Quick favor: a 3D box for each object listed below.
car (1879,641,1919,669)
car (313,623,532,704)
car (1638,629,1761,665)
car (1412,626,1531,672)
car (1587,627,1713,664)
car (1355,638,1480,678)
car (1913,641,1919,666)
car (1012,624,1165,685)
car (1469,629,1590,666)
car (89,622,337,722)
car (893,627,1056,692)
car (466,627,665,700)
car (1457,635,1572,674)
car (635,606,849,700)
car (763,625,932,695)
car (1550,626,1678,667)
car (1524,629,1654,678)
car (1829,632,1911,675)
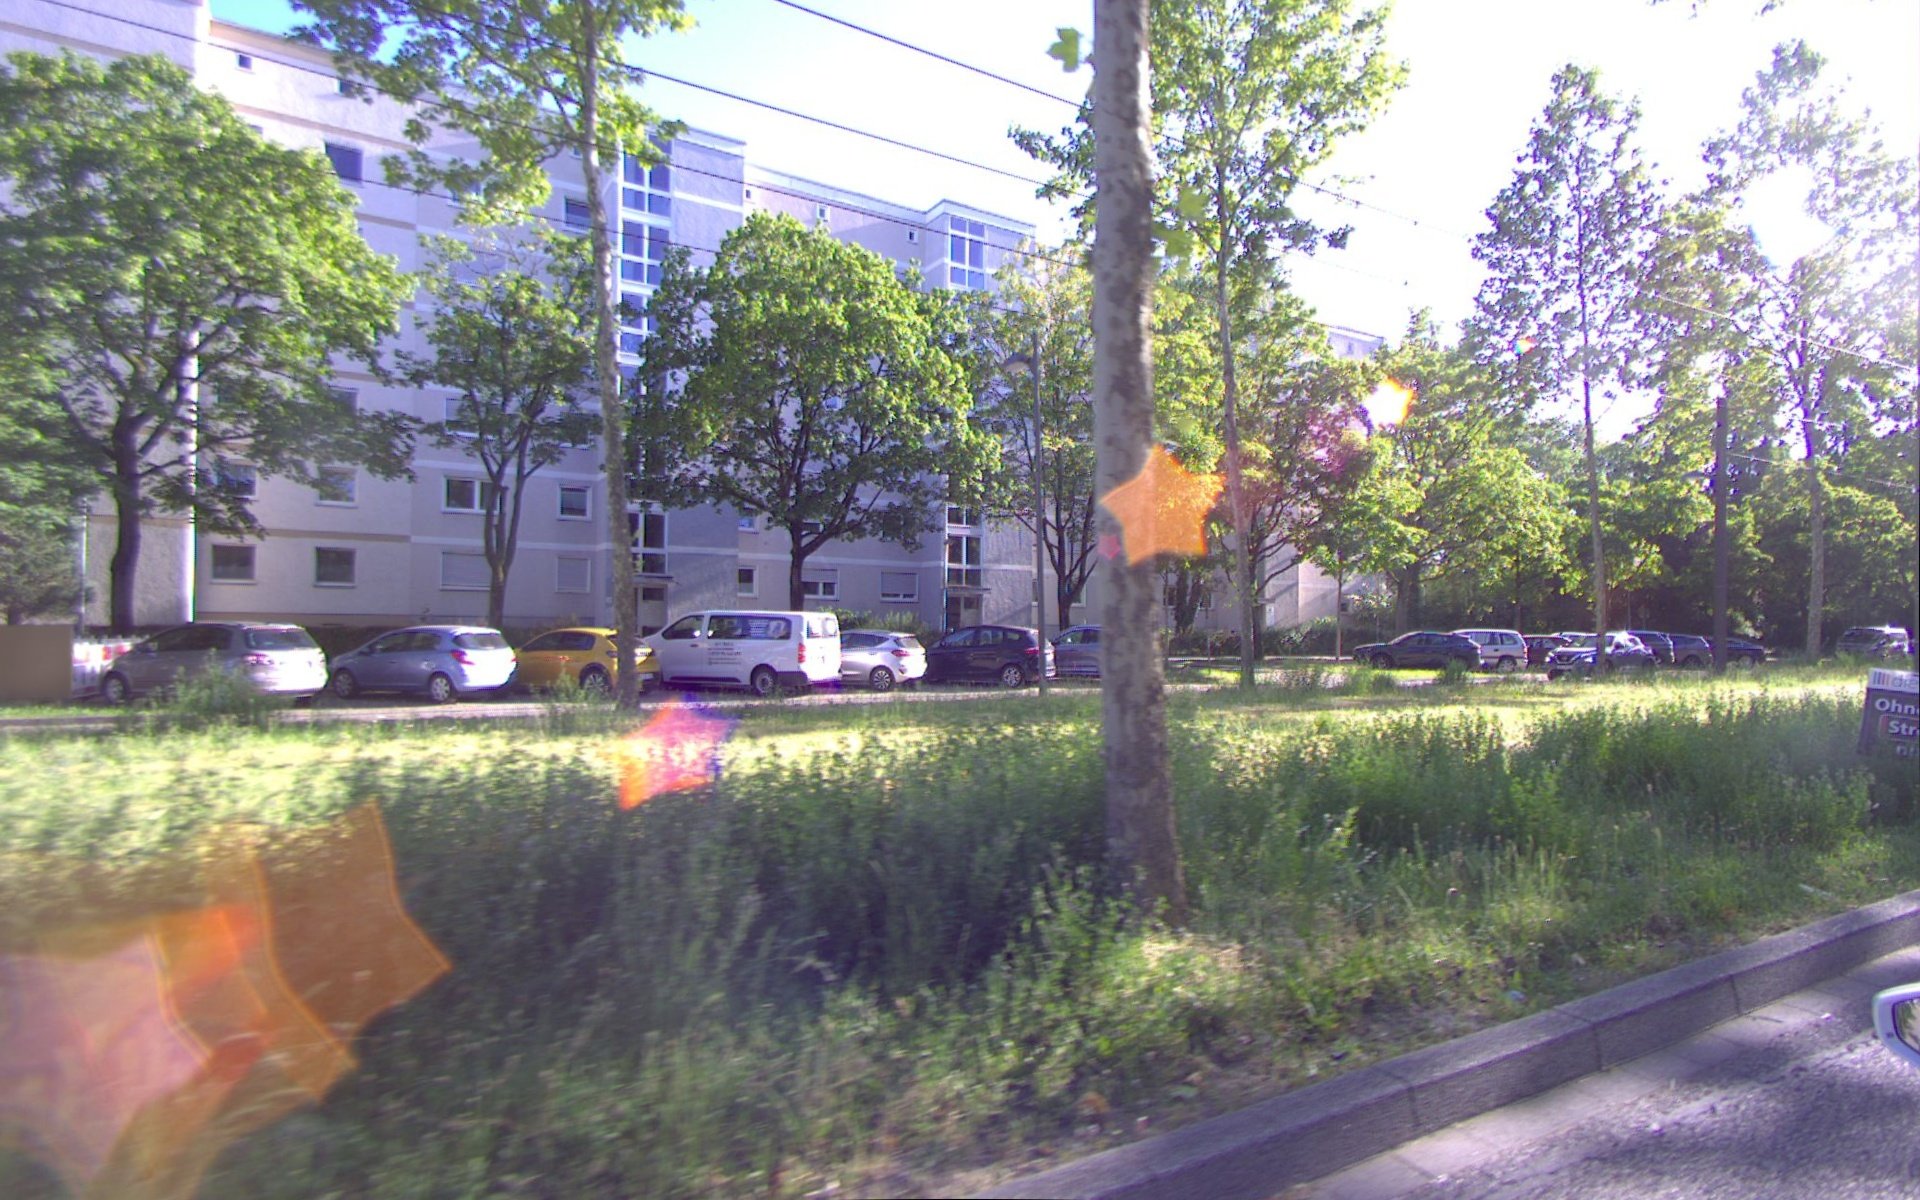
[{"bbox_3d":[53.622,3.083,56.554,3.618,1.472,1.638,2,1,-28],"label":"car"},{"bbox_3d":[-10.988,1.248,20.567,4.004,1.502,1.652,0,-2,19],"label":"car"},{"bbox_3d":[35.519,2.239,48.372,4.397,1.589,1.796,0,-2,18],"label":"car"},{"bbox_3d":[19.948,1.908,39.322,3.900,1.697,1.788,0,-2,18],"label":"car"},{"bbox_3d":[31.648,2.087,46.209,4.397,1.589,1.796,0,-2,18],"label":"car"},{"bbox_3d":[16.936,2.117,37.384,4.049,1.355,1.796,0,-1,18],"label":"car"},{"bbox_3d":[57.778,3.186,58.789,3.530,1.472,1.864,2,1,-28],"label":"car"},{"bbox_3d":[3.741,1.525,29.104,4.007,1.628,1.994,0,0,24],"label":"car"},{"bbox_3d":[24.585,2.018,43.540,4.401,1.501,1.617,0,-2,24],"label":"car"},{"bbox_3d":[-13.671,1.257,18.404,4.004,1.668,1.652,0,-1,19],"label":"car"},{"bbox_3d":[0.378,1.541,26.951,4.009,1.551,1.816,0,0,27],"label":"car"},{"bbox_3d":[-8.656,1.348,22.084,4.004,1.451,1.580,0,-1,19],"label":"car"},{"bbox_3d":[22.671,2.218,41.237,3.843,1.507,1.796,0,-2,18],"label":"car"},{"bbox_3d":[-5.148,1.167,23.721,4.706,2.033,1.892,0,0,22],"label":"car"},{"bbox_3d":[-2.857,1.470,25.411,4.009,1.451,1.577,2,1,27],"label":"car"},{"bbox_3d":[28.721,2.009,44.242,4.397,1.697,1.796,0,-2,18],"label":"car"},{"bbox_3d":[20.706,1.763,33.060,4.037,1.525,1.915,1,-4,-30],"label":"car"},{"bbox_3d":[48.438,2.844,53.441,4.854,2.121,1.638,2,1,-28],"label":"car"}]
